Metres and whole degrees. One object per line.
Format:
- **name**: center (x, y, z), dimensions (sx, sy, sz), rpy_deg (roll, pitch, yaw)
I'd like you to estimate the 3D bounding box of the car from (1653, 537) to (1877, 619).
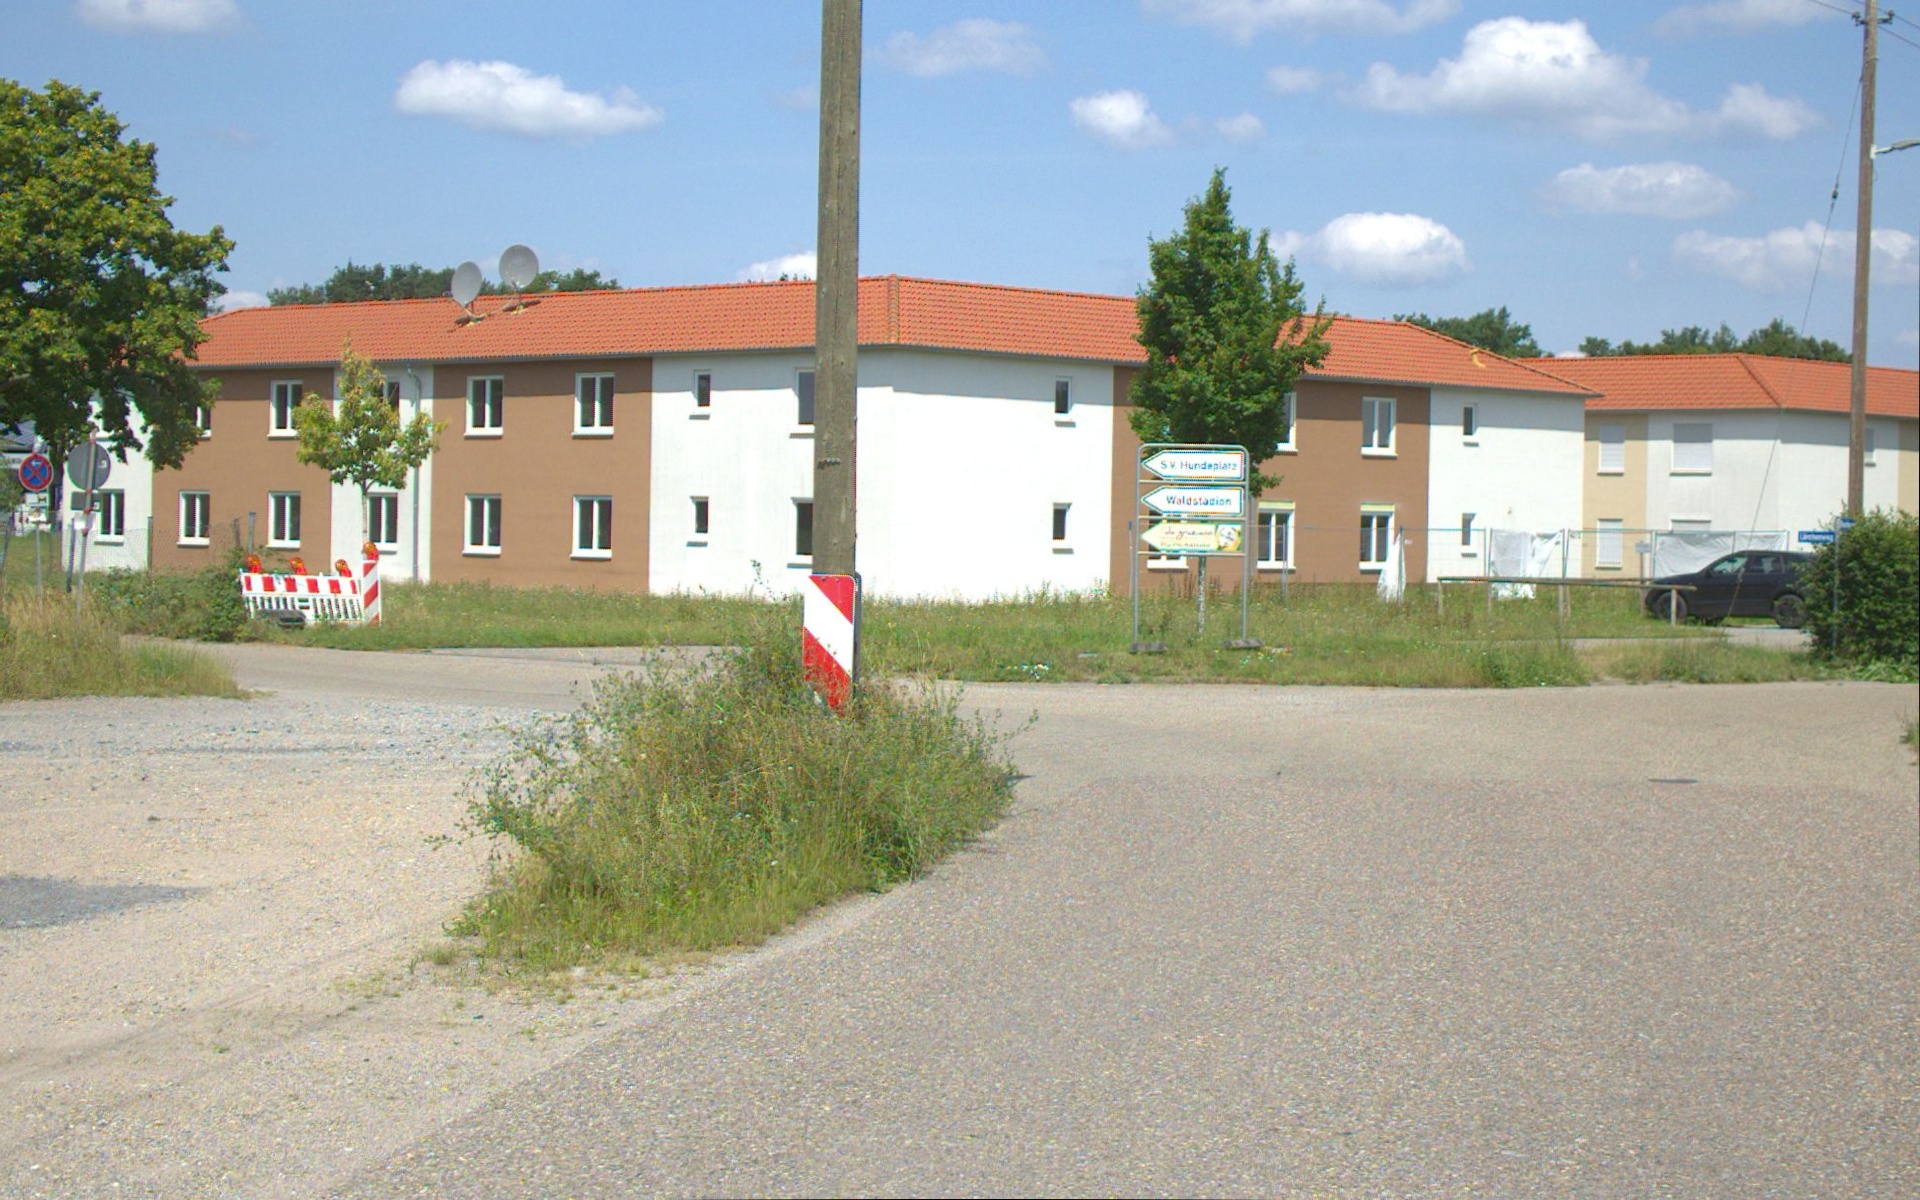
- **car**: center (17.045, -0.481, 72.922), dimensions (4.145, 1.609, 1.995), rpy_deg (2, 1, 43)
